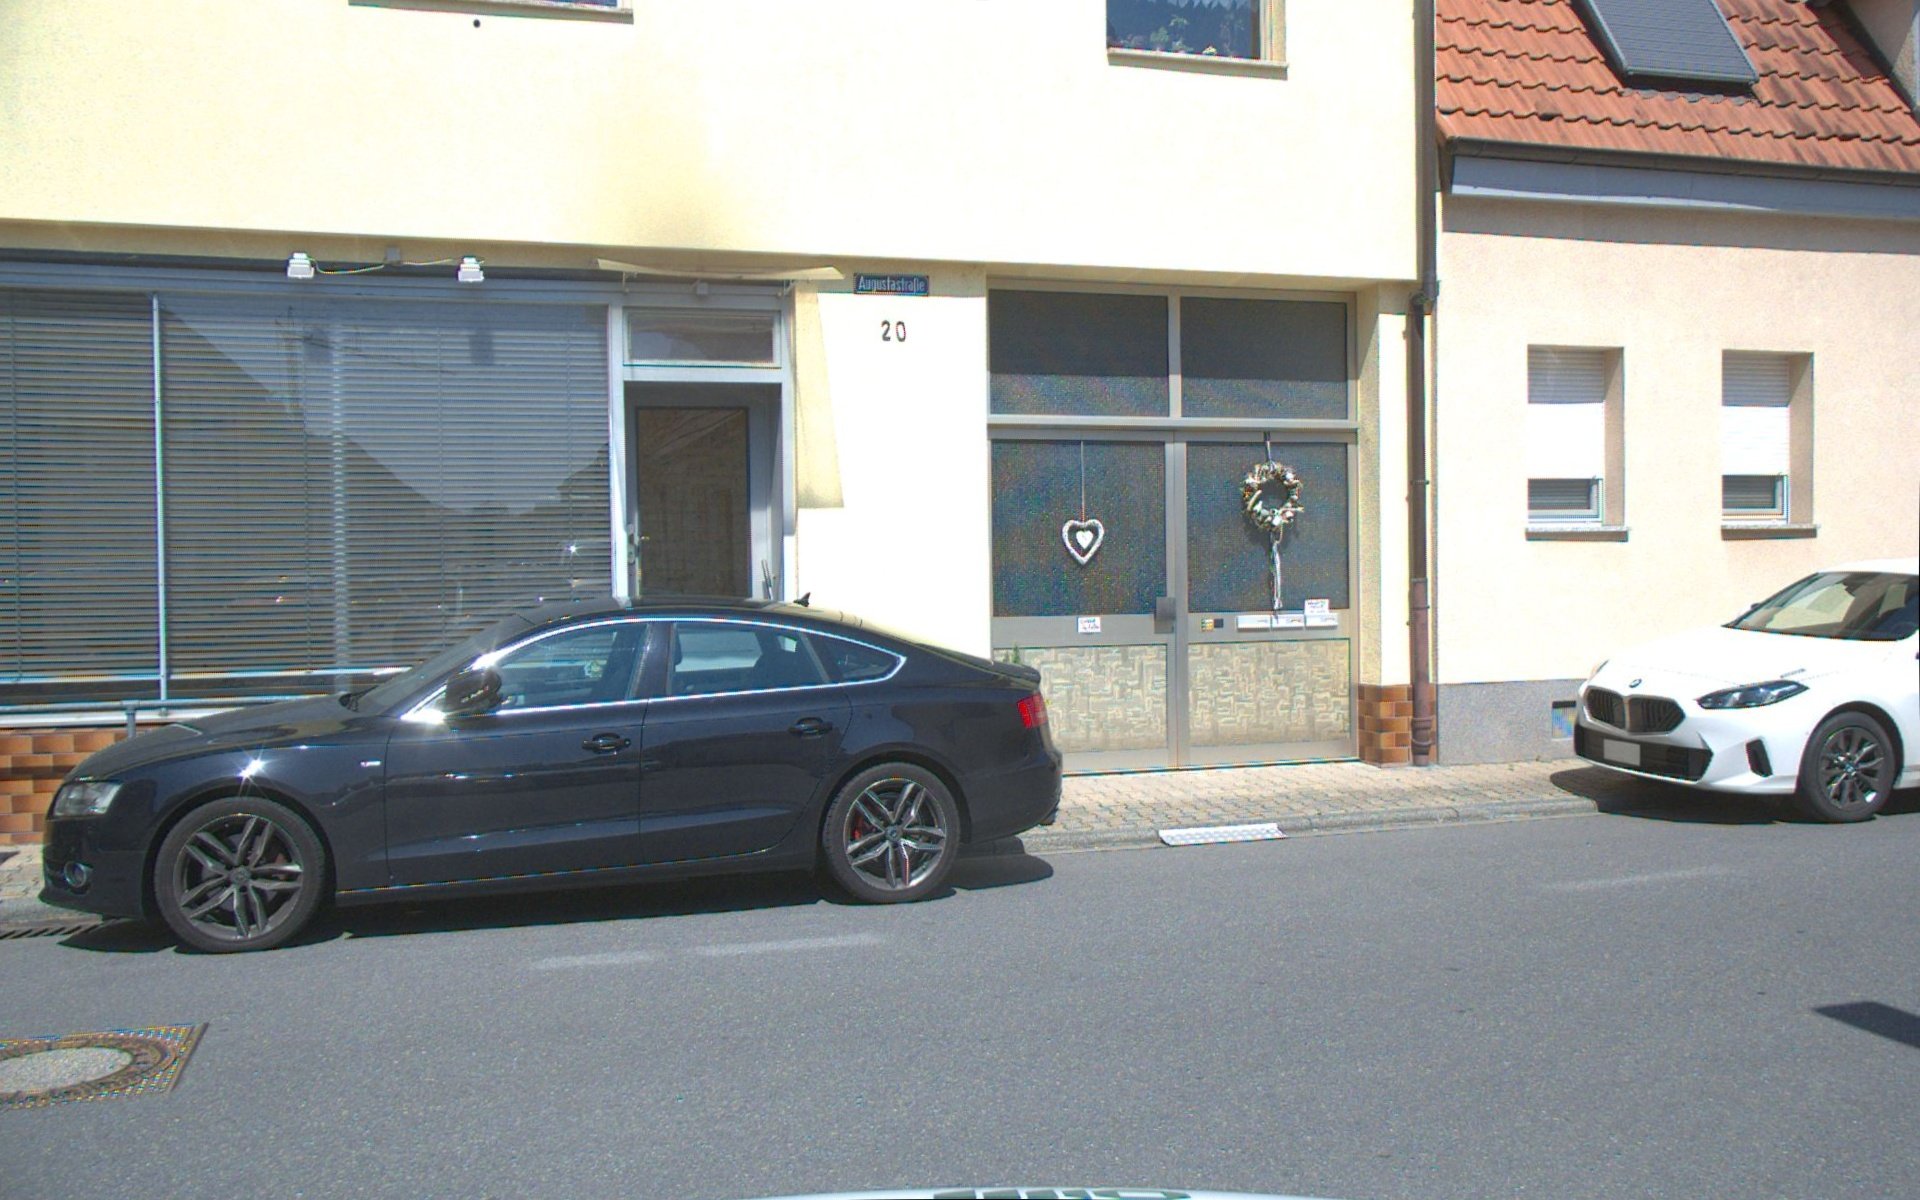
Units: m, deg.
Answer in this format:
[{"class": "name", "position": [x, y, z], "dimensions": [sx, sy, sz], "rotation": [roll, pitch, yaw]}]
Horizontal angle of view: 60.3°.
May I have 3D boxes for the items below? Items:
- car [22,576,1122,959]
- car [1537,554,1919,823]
[{"class": "car", "position": [-1.700, 0.664, 7.945], "dimensions": [4.544, 1.419, 1.918], "rotation": [-1, -2, -18]}, {"class": "car", "position": [6.006, 0.456, 10.561], "dimensions": [4.133, 1.479, 1.781], "rotation": [-1, 1, -16]}]
